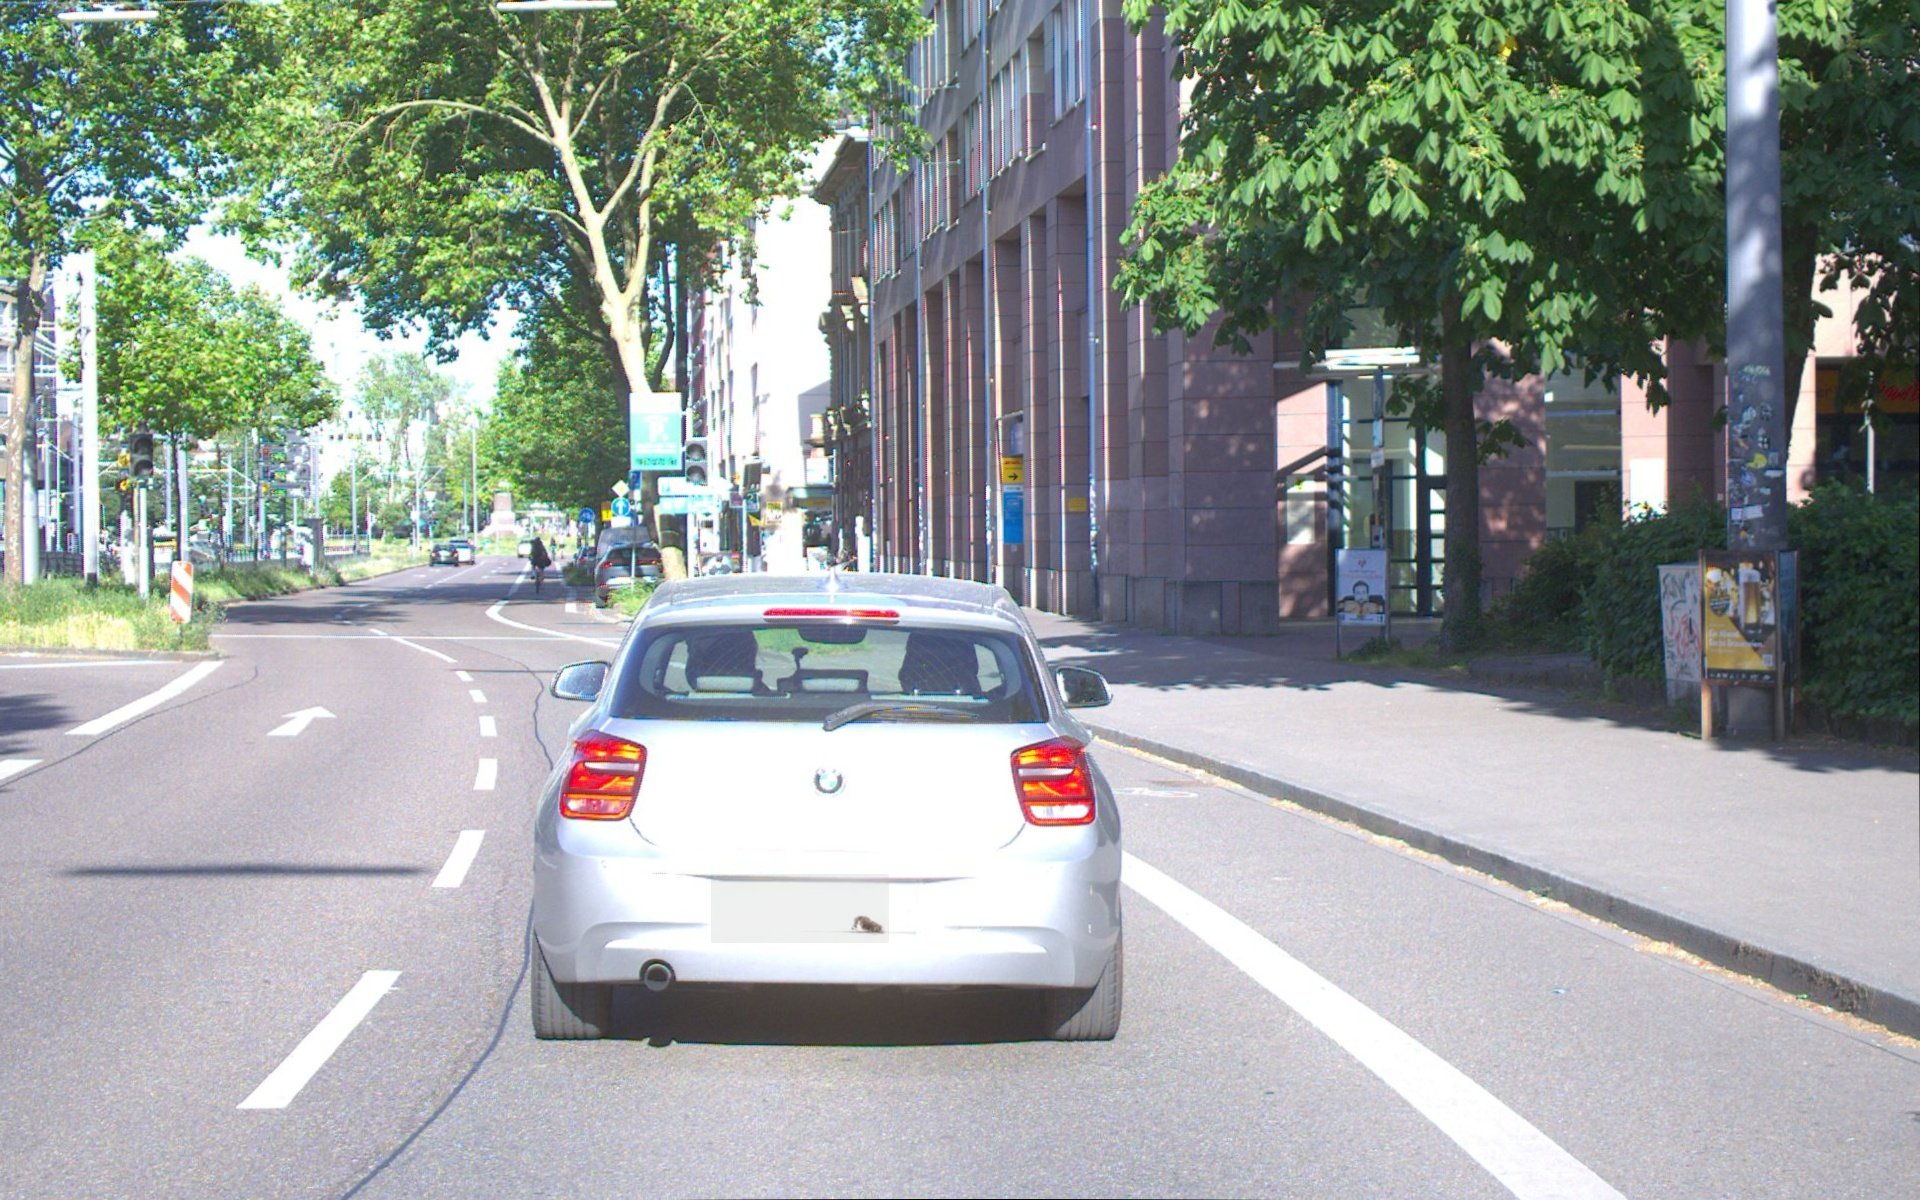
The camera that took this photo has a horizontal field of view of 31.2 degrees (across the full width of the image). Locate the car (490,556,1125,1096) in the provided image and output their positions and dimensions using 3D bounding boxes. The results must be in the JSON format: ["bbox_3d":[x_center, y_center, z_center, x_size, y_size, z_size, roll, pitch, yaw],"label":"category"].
[{"bbox_3d":[-0.390,0.600,11.430,1.730,1.385,3.840,1,2,1],"label":"car"}]

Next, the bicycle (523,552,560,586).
[{"bbox_3d":[-13.088,-0.976,107.562,0.831,1.038,1.874,-1,1,3],"label":"bicycle"}]

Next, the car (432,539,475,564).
[{"bbox_3d":[-30.688,-2.928,208.564,1.993,1.481,4.000,0,1,0],"label":"car"}]

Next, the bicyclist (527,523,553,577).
[{"bbox_3d":[-13.126,-1.566,107.480,0.658,1.651,0.765,-1,1,3],"label":"bicyclist"}]

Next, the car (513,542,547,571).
[{"bbox_3d":[-31.468,-3.188,251.767,1.993,2.007,4.000,2,0,-2],"label":"car"}]
